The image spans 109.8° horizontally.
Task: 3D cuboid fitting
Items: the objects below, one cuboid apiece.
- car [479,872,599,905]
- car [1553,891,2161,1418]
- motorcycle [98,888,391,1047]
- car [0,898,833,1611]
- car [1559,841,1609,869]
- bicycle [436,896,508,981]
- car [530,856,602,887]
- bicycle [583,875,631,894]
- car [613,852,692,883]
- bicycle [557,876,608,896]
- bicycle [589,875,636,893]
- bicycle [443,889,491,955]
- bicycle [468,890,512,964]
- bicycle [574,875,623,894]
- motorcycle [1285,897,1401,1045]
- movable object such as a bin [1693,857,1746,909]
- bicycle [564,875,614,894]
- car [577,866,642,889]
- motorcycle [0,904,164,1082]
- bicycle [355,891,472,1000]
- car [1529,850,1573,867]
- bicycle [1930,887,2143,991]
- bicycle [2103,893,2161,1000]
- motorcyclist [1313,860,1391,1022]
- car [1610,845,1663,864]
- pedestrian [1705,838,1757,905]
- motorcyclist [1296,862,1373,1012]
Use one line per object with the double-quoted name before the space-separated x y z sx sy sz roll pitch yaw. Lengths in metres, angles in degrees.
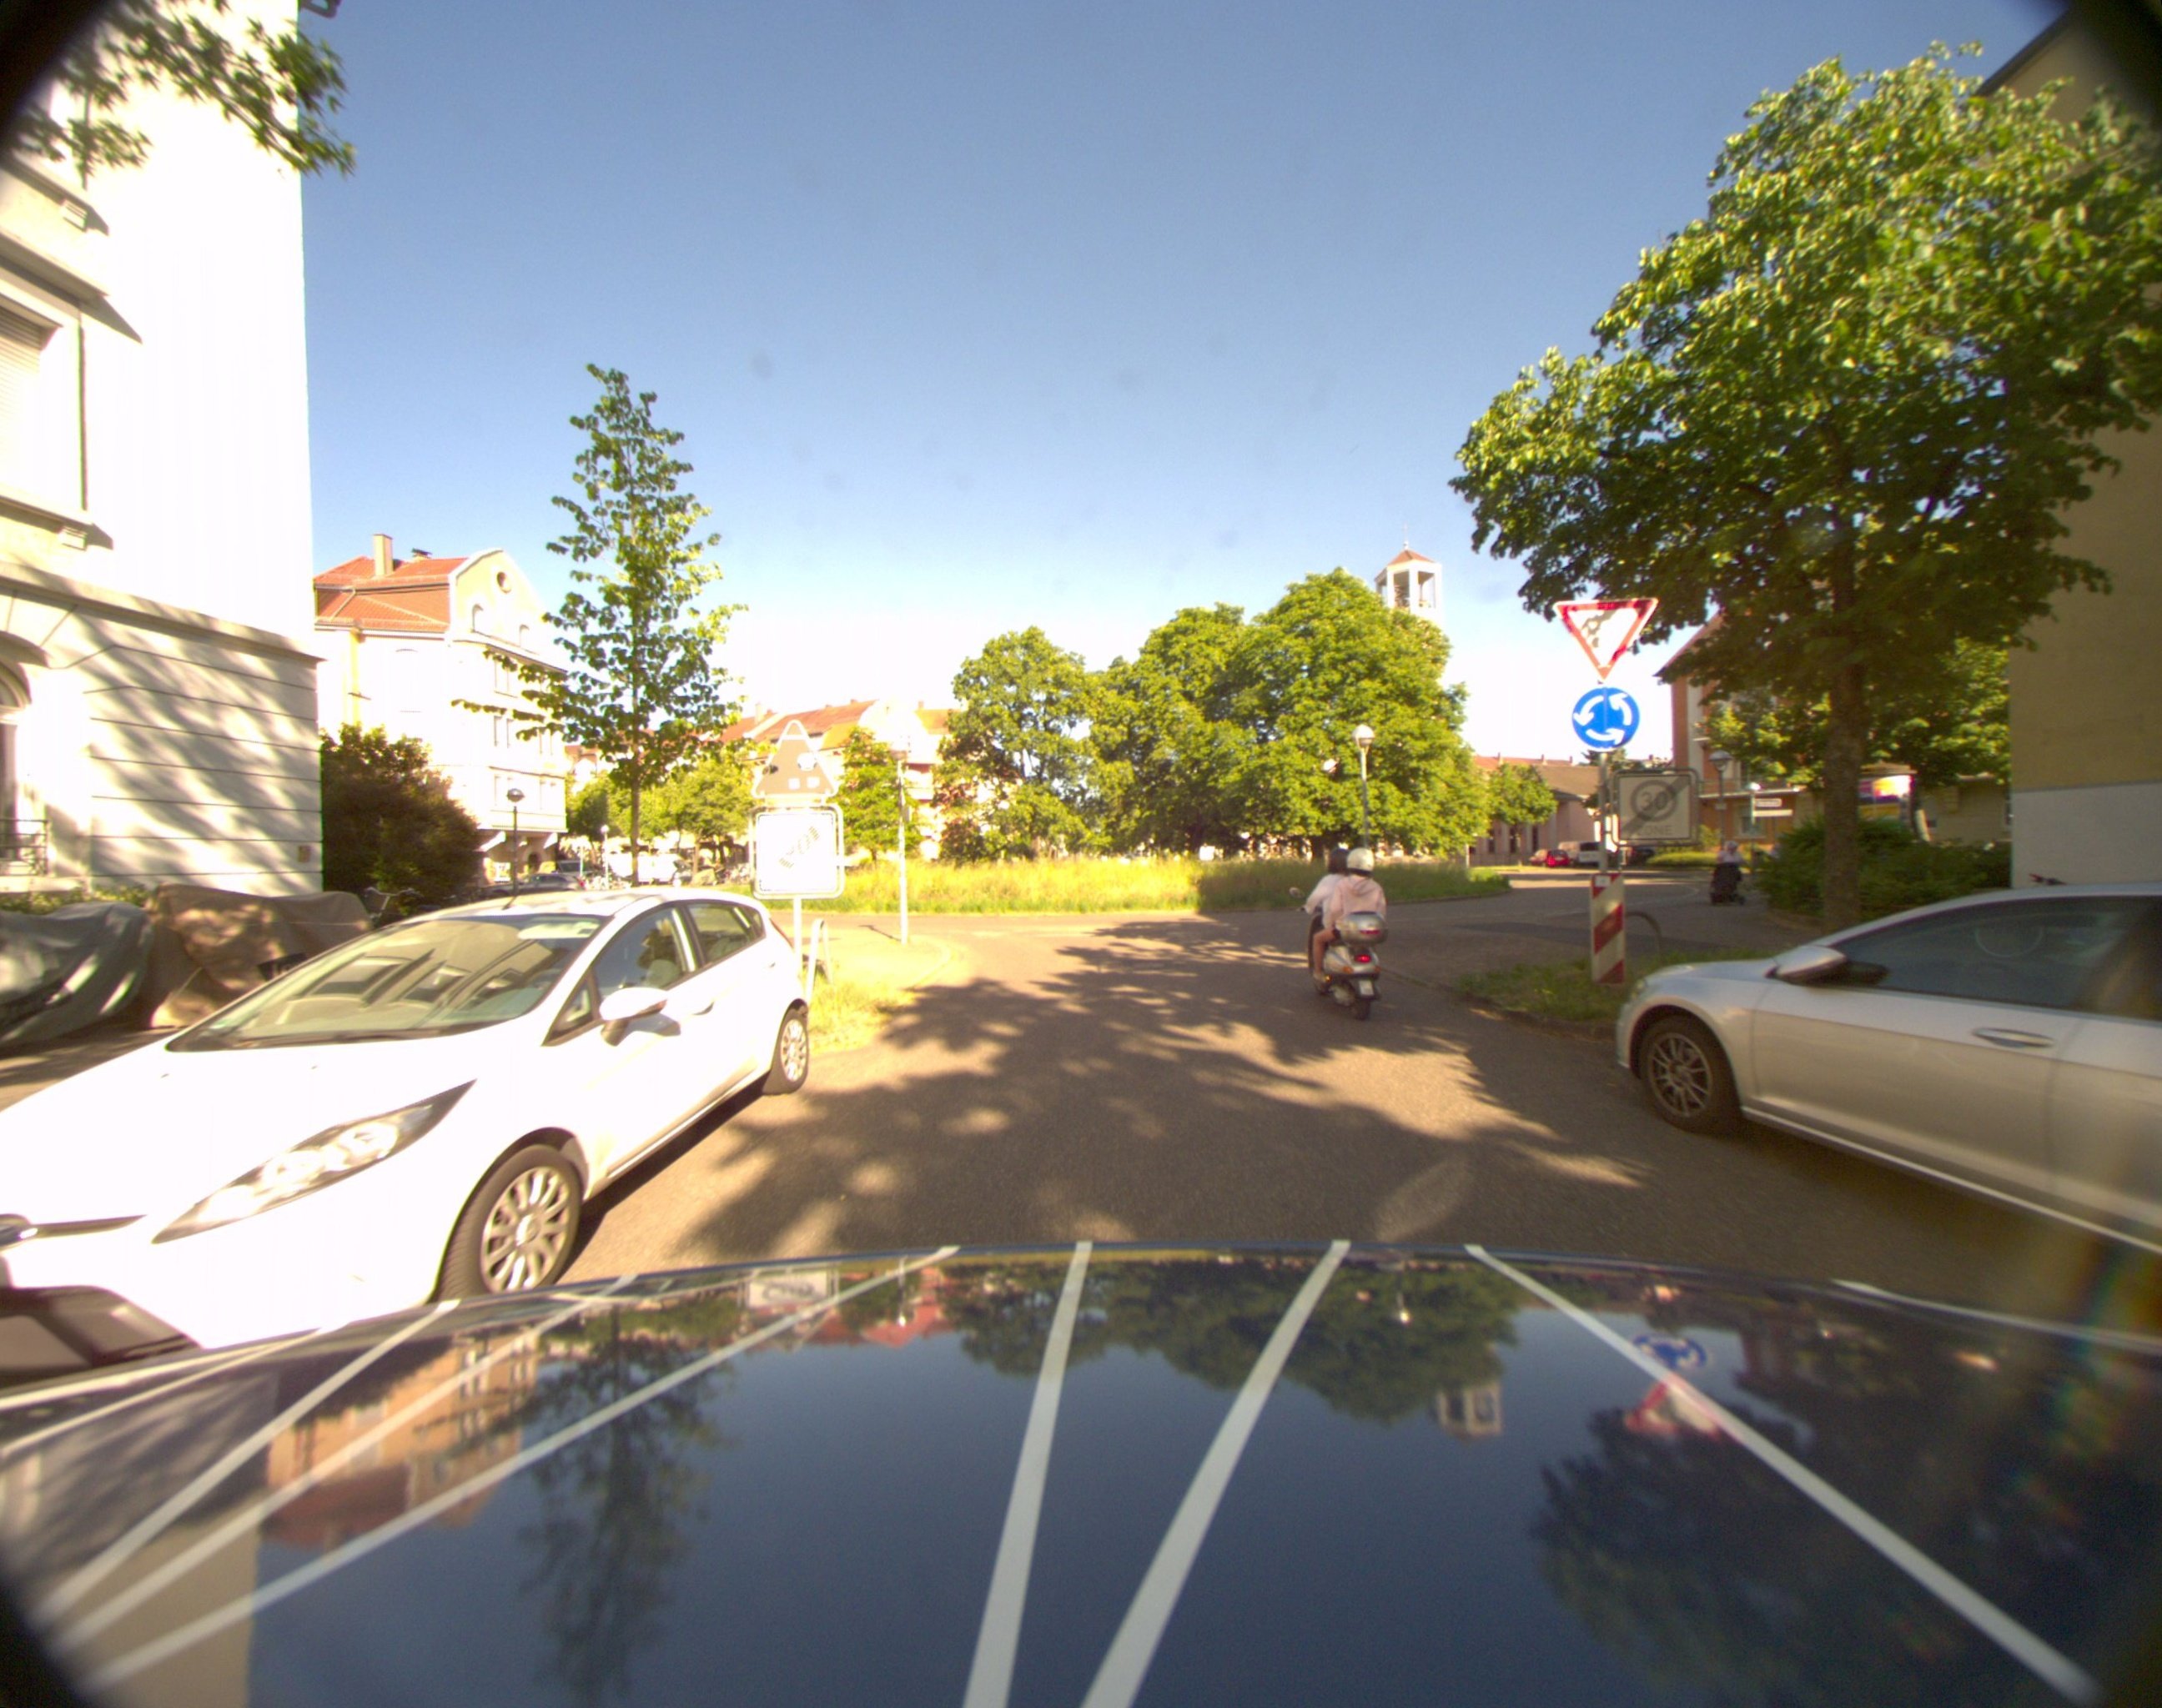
"car" -26.130 1.649 36.753 1.844 1.399 4.416 -4 -3 42
"car" 4.104 0.973 3.089 1.765 1.433 3.993 -1 0 -2
"motorcycle" -8.378 1.066 7.778 0.973 1.321 1.852 -1 0 -4
"car" -2.772 1.047 3.802 1.657 1.394 4.135 -1 0 0
"car" 37.865 0.054 57.255 1.996 2.002 4.005 -1 0 16
"bicycle" -9.211 1.235 11.537 0.352 1.097 1.569 -1 1 -20
"car" -36.349 1.209 53.572 4.788 2.107 2.259 -1 0 29
"bicycle" -27.461 1.740 44.027 2.364 1.046 0.654 -1 0 1
"car" -34.535 1.096 61.414 5.198 2.348 2.034 -1 0 -20
"bicycle" -27.478 1.746 41.873 2.364 1.046 0.654 -1 0 1
"bicycle" -27.594 1.761 44.769 2.364 1.046 0.654 -1 0 1
"bicycle" -11.553 1.248 14.275 1.633 1.142 0.367 -1 0 40
"bicycle" -10.212 1.224 13.109 0.445 1.142 1.774 -1 0 -42
"bicycle" -27.513 1.745 43.324 2.364 1.046 0.654 -1 0 1
"motorcycle" 2.472 1.054 7.342 0.554 1.168 1.632 -1 0 1
"movable object such as a bin" 15.217 0.665 18.101 0.846 1.189 0.767 -1 0 -35
"bicycle" -27.572 1.701 42.588 2.364 1.009 0.654 -1 -1 1
"car" -31.715 1.553 51.108 3.989 1.434 2.004 -1 0 28
"motorcycle" -8.494 1.082 5.909 0.658 1.272 1.799 1 0 -6
"bicycle" -8.717 1.149 9.992 0.326 1.231 1.502 -1 1 -6
"car" 35.107 0.306 56.849 1.766 1.171 4.005 -1 0 16
"bicycle" 10.643 0.905 8.553 0.477 0.995 1.545 -1 0 2
"bicycle" 10.561 0.896 6.912 0.476 0.995 1.545 -1 0 2
"motorcyclist" 2.459 0.775 6.919 0.545 1.418 0.404 -1 0 1
"car" 43.543 0.040 59.648 1.741 1.471 4.003 -1 0 10
"pedestrian" 15.866 0.429 18.568 0.696 1.606 0.665 -1 0 3
"motorcyclist" 2.455 0.782 7.391 0.554 1.394 0.520 -1 0 1
